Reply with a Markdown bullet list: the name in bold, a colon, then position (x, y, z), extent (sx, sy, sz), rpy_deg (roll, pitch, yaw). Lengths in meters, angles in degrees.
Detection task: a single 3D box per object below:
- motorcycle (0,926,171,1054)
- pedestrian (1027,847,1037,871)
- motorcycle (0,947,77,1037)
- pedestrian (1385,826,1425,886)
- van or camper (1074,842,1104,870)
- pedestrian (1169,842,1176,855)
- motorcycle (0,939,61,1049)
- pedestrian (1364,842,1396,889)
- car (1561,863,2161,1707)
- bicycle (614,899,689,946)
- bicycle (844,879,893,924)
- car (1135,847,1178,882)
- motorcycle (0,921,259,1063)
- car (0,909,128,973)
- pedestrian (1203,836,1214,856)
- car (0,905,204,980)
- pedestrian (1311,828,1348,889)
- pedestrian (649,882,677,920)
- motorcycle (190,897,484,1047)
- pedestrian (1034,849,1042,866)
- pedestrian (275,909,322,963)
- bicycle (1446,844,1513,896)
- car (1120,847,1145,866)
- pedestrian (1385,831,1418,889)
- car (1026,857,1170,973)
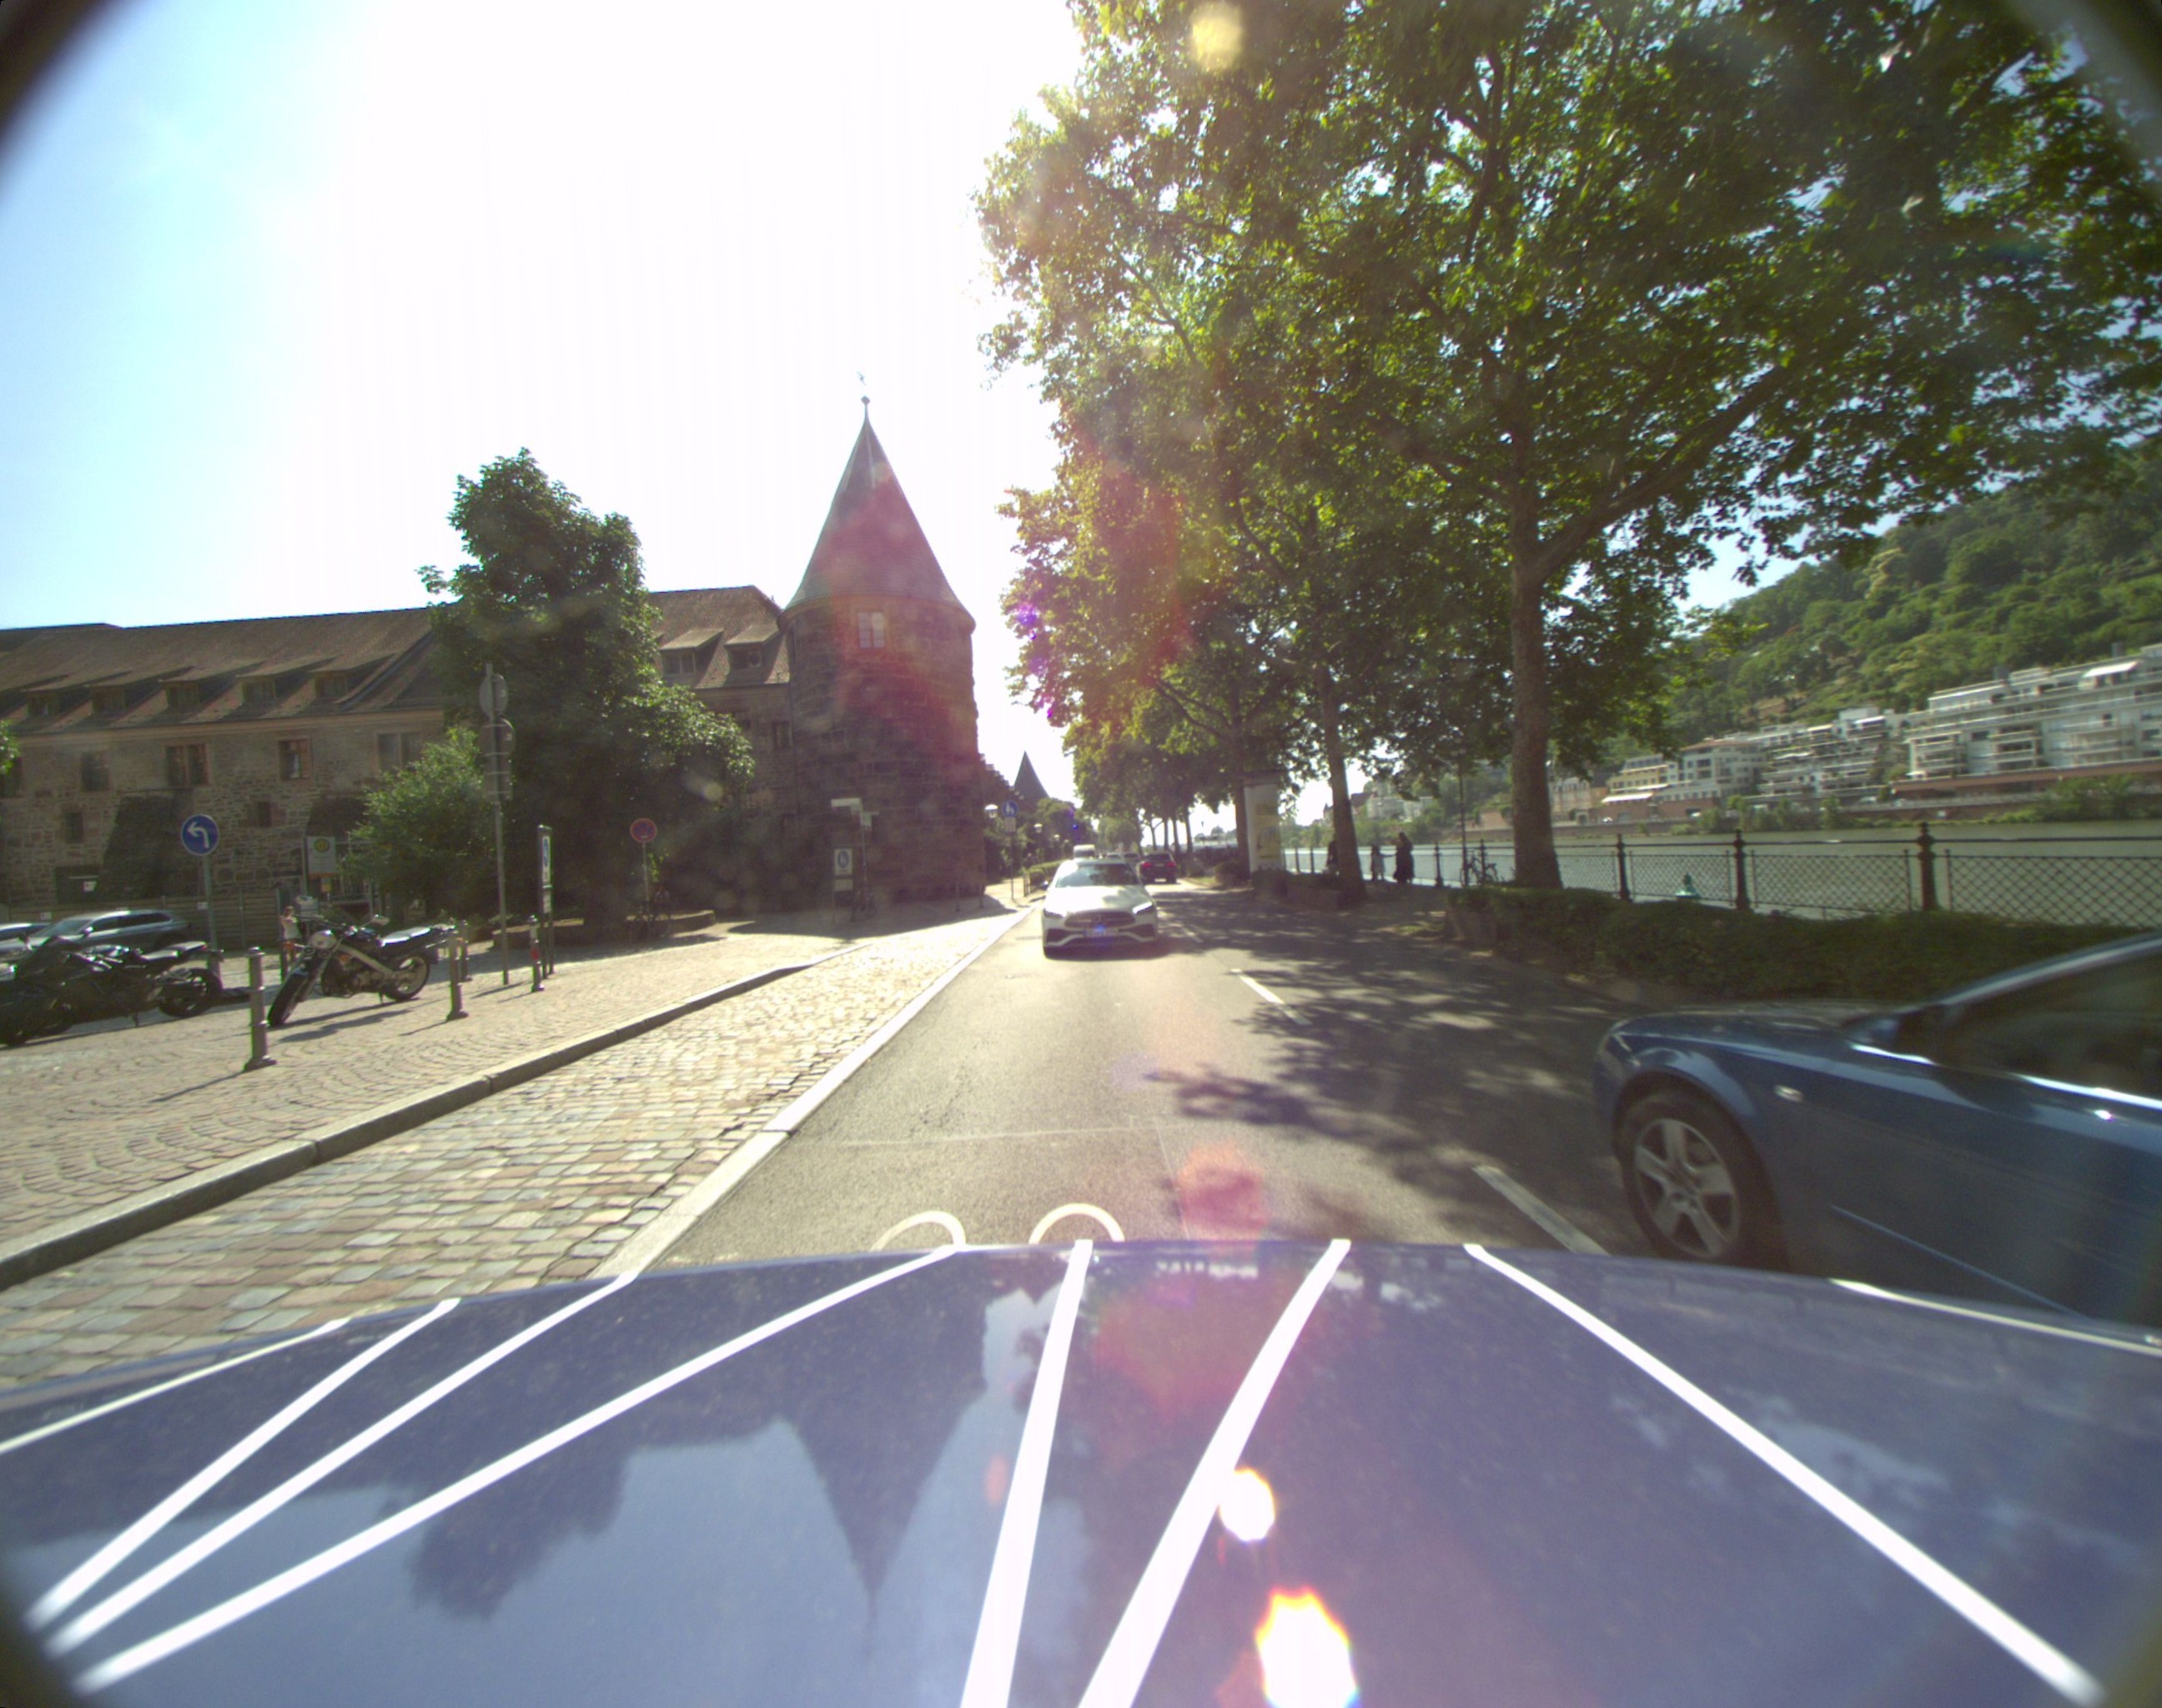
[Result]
- **motorcycle**: position (-12.133, 1.575, 8.608), extent (0.740, 1.229, 2.271), rpy_deg (-4, 1, 3)
- **pedestrian**: position (-3.858, 0.414, 60.131), extent (0.556, 1.844, 1.023), rpy_deg (-4, 1, 1)
- **motorcycle**: position (-14.846, 1.919, 9.928), extent (0.877, 1.088, 1.904), rpy_deg (-4, 1, -3)
- **pedestrian**: position (9.382, 0.057, 22.020), extent (0.793, 1.674, 0.709), rpy_deg (-4, 1, 0)
- **van or camper**: position (0.691, 0.104, 68.468), extent (2.437, 2.271, 6.203), rpy_deg (-4, 1, 0)
- **pedestrian**: position (11.761, -0.704, 97.445), extent (0.760, 1.697, 0.730), rpy_deg (-3, 1, 3)
- **motorcycle**: position (-13.043, 1.692, 8.508), extent (0.671, 1.224, 1.807), rpy_deg (-4, 0, 3)
- **pedestrian**: position (8.690, 0.329, 22.079), extent (0.633, 1.312, 0.553), rpy_deg (-4, 1, 0)
- **car**: position (2.820, 0.834, 1.014), extent (1.705, 1.509, 4.404), rpy_deg (0, 1, 2)
- **bicycle**: position (-10.965, 1.736, 19.471), extent (0.659, 0.996, 1.714), rpy_deg (-4, 1, 11)
- **bicycle**: position (-6.227, 1.364, 22.369), extent (0.845, 1.146, 1.844), rpy_deg (-4, 1, 0)
- **car**: position (3.891, 0.503, 39.918), extent (1.875, 1.661, 4.745), rpy_deg (-2, 0, 2)
- **motorcycle**: position (-11.240, 1.531, 8.959), extent (0.660, 1.229, 2.215), rpy_deg (-4, 1, -3)
- **car**: position (-34.394, 2.895, 24.280), extent (1.998, 1.608, 4.425), rpy_deg (-3, 3, 4)
- **pedestrian**: position (11.107, -0.725, 66.366), extent (0.760, 1.697, 0.729), rpy_deg (-4, 1, 0)
- **car**: position (-31.278, 2.713, 23.866), extent (1.998, 1.608, 4.425), rpy_deg (-3, 3, 4)
- **pedestrian**: position (7.397, 0.130, 22.630), extent (0.760, 1.720, 0.729), rpy_deg (-4, 1, 0)
- **pedestrian**: position (-14.437, 1.615, 26.257), extent (0.667, 1.225, 0.781), rpy_deg (-4, 1, -19)
- **motorcycle**: position (-8.329, 1.230, 8.763), extent (0.885, 1.285, 2.527), rpy_deg (-5, 0, -3)
- **pedestrian**: position (-4.224, 0.367, 74.961), extent (0.592, 1.662, 0.441), rpy_deg (-4, 1, 1)
- **pedestrian**: position (-22.092, 2.300, 21.458), extent (0.660, 1.413, 0.675), rpy_deg (-3, 3, 32)
- **bicycle**: position (9.604, 0.347, 18.376), extent (0.564, 1.146, 1.844), rpy_deg (-5, 1, 0)
- **car**: position (4.832, 0.245, 71.734), extent (1.998, 1.598, 4.257), rpy_deg (-4, 1, 0)
- **pedestrian**: position (9.285, 0.158, 22.015), extent (0.633, 1.618, 0.553), rpy_deg (-4, 1, 0)
- **car**: position (0.288, 0.831, 12.596), extent (1.875, 1.416, 4.744), rpy_deg (-3, 1, 1)
